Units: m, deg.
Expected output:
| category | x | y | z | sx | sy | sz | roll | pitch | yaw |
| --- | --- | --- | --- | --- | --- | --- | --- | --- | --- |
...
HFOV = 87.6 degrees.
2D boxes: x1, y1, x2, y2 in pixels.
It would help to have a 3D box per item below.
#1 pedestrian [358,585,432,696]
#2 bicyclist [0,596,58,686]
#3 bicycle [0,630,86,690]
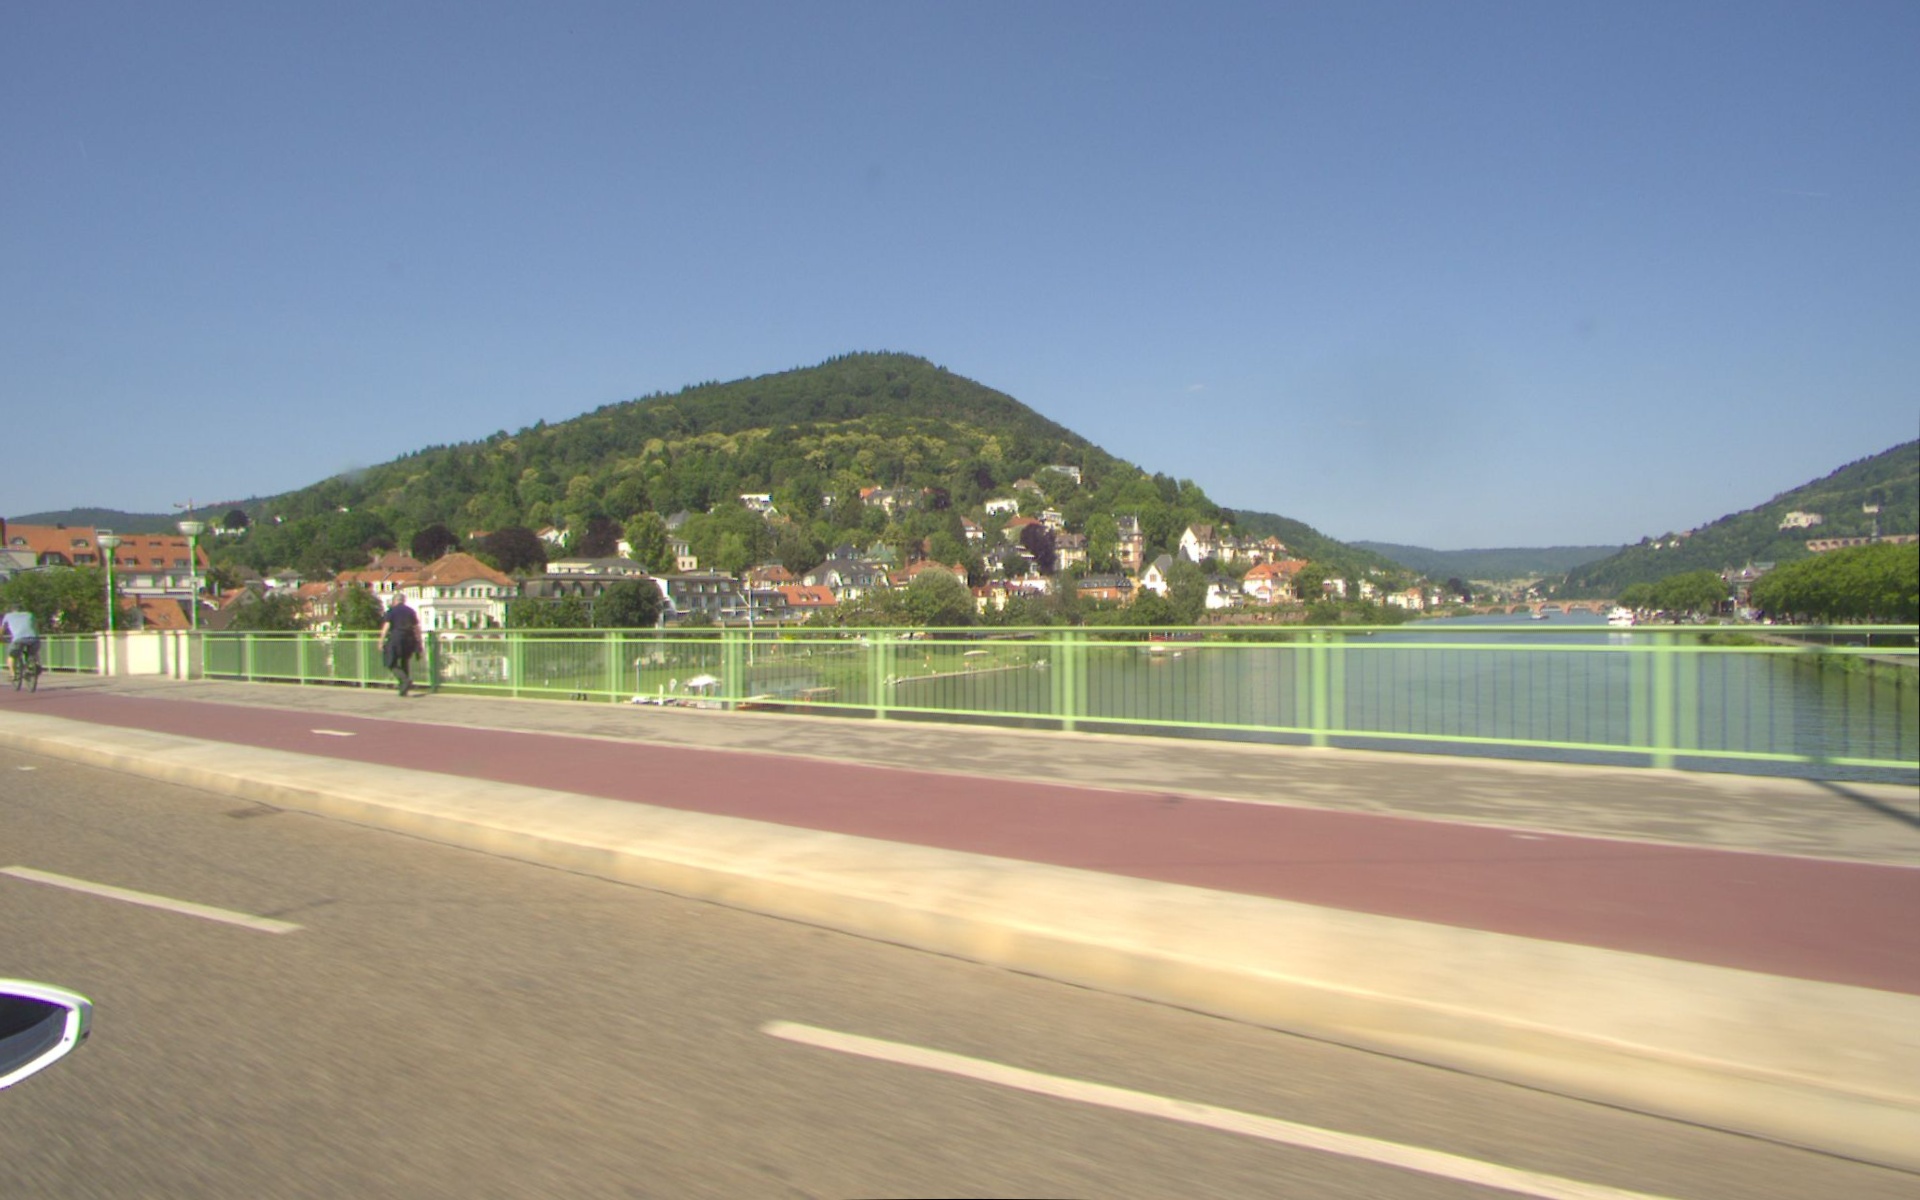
| category | x | y | z | sx | sy | sz | roll | pitch | yaw |
| --- | --- | --- | --- | --- | --- | --- | --- | --- | --- |
| pedestrian | -9.279 | 0.642 | 16.445 | 0.963 | 1.767 | 0.654 | 1 | 1 | 29 |
| bicyclist | -18.977 | 0.821 | 20.316 | 1.133 | 1.767 | 0.672 | -1 | 1 | 30 |
| bicycle | -19.096 | 1.186 | 20.395 | 3.689 | 1.110 | 0.791 | -1 | 0 | 30 |
